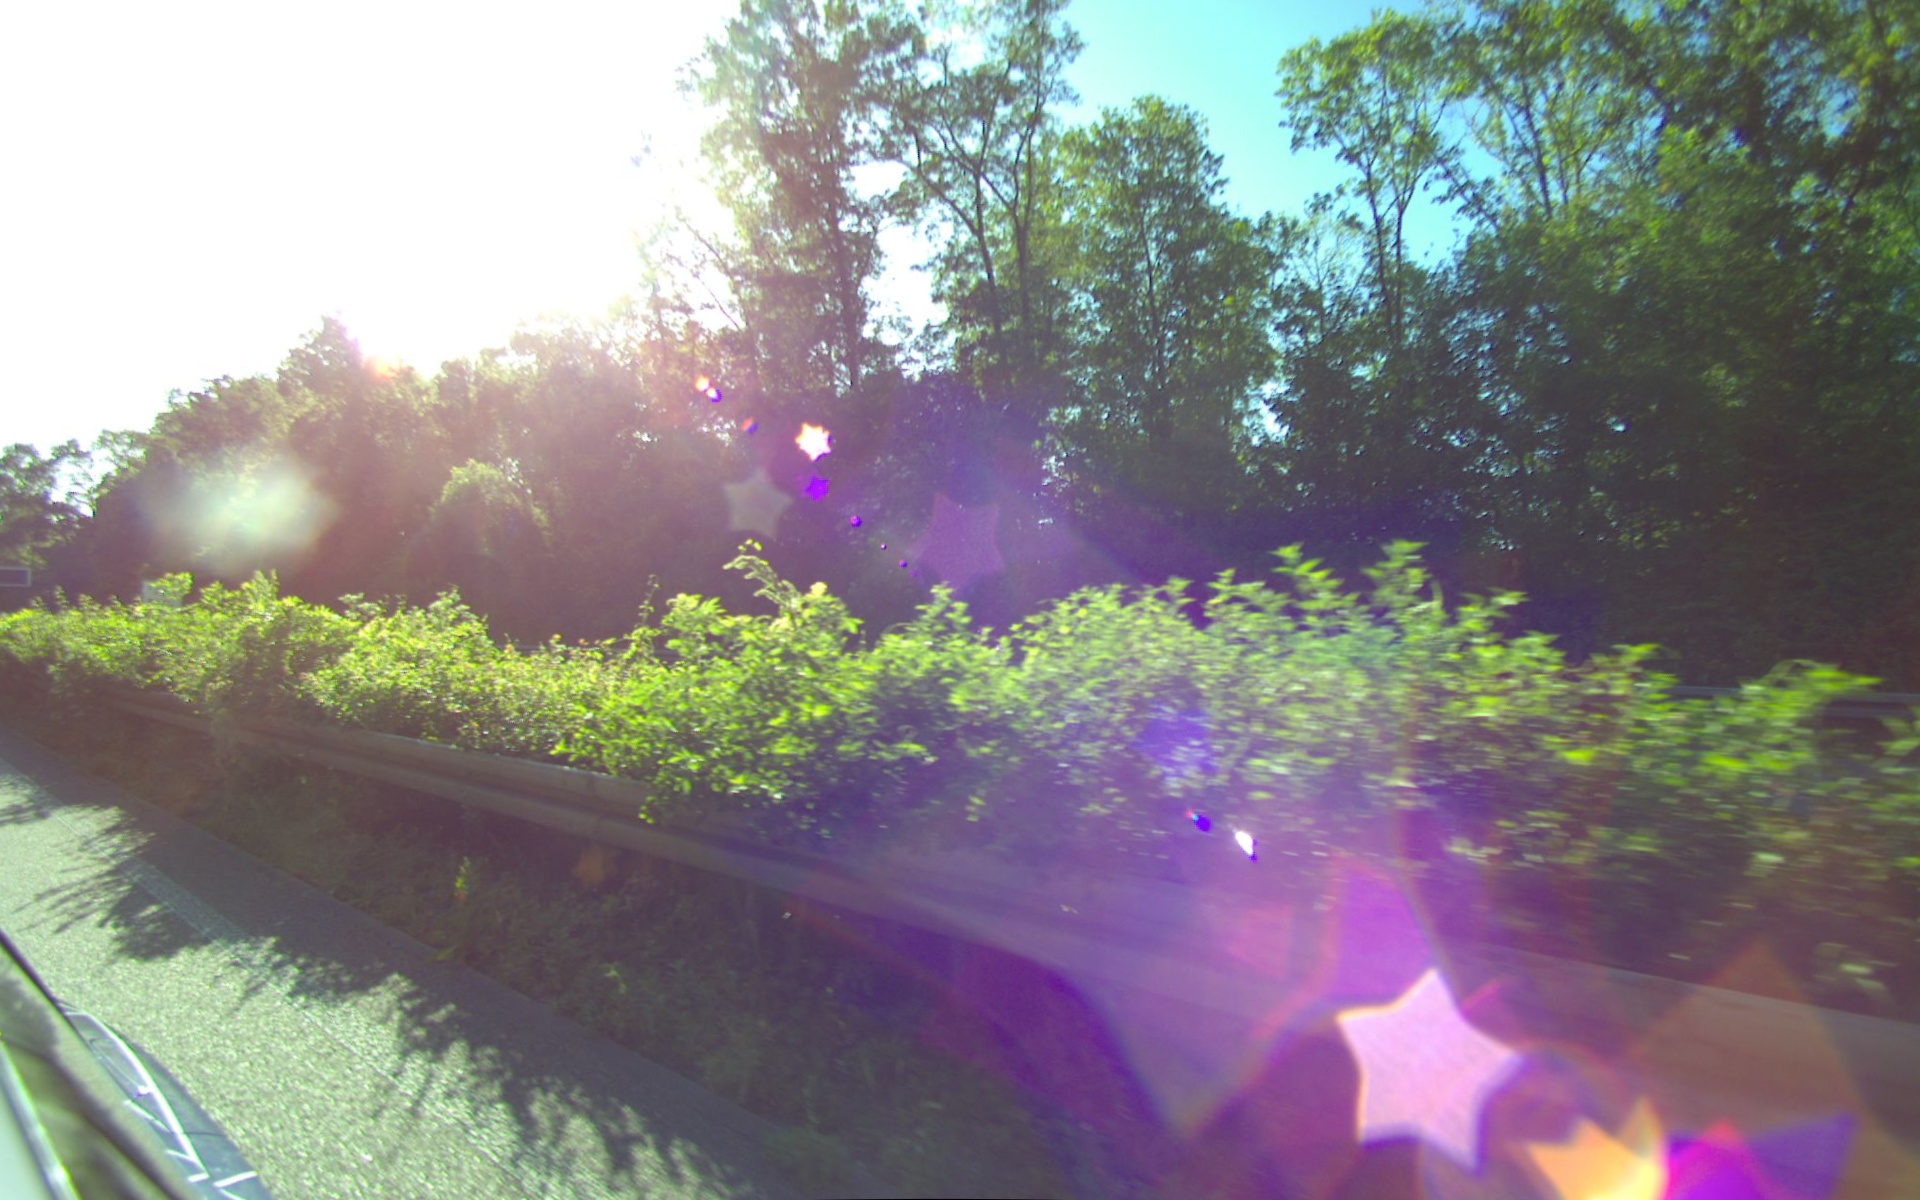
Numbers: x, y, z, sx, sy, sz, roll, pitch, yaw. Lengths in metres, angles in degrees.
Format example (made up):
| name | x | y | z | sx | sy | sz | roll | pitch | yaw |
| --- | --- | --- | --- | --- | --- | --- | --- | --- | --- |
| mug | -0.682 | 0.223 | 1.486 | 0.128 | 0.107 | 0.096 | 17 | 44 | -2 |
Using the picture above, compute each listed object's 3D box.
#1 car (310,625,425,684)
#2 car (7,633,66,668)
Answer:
| name | x | y | z | sx | sy | sz | roll | pitch | yaw |
| --- | --- | --- | --- | --- | --- | --- | --- | --- | --- |
| car | -17.948 | 1.586 | 30.614 | 3.998 | 1.586 | 1.828 | -1 | 0 | 41 |
| car | -47.459 | 2.569 | 51.976 | 4.583 | 1.617 | 1.695 | -1 | 0 | 41 |
